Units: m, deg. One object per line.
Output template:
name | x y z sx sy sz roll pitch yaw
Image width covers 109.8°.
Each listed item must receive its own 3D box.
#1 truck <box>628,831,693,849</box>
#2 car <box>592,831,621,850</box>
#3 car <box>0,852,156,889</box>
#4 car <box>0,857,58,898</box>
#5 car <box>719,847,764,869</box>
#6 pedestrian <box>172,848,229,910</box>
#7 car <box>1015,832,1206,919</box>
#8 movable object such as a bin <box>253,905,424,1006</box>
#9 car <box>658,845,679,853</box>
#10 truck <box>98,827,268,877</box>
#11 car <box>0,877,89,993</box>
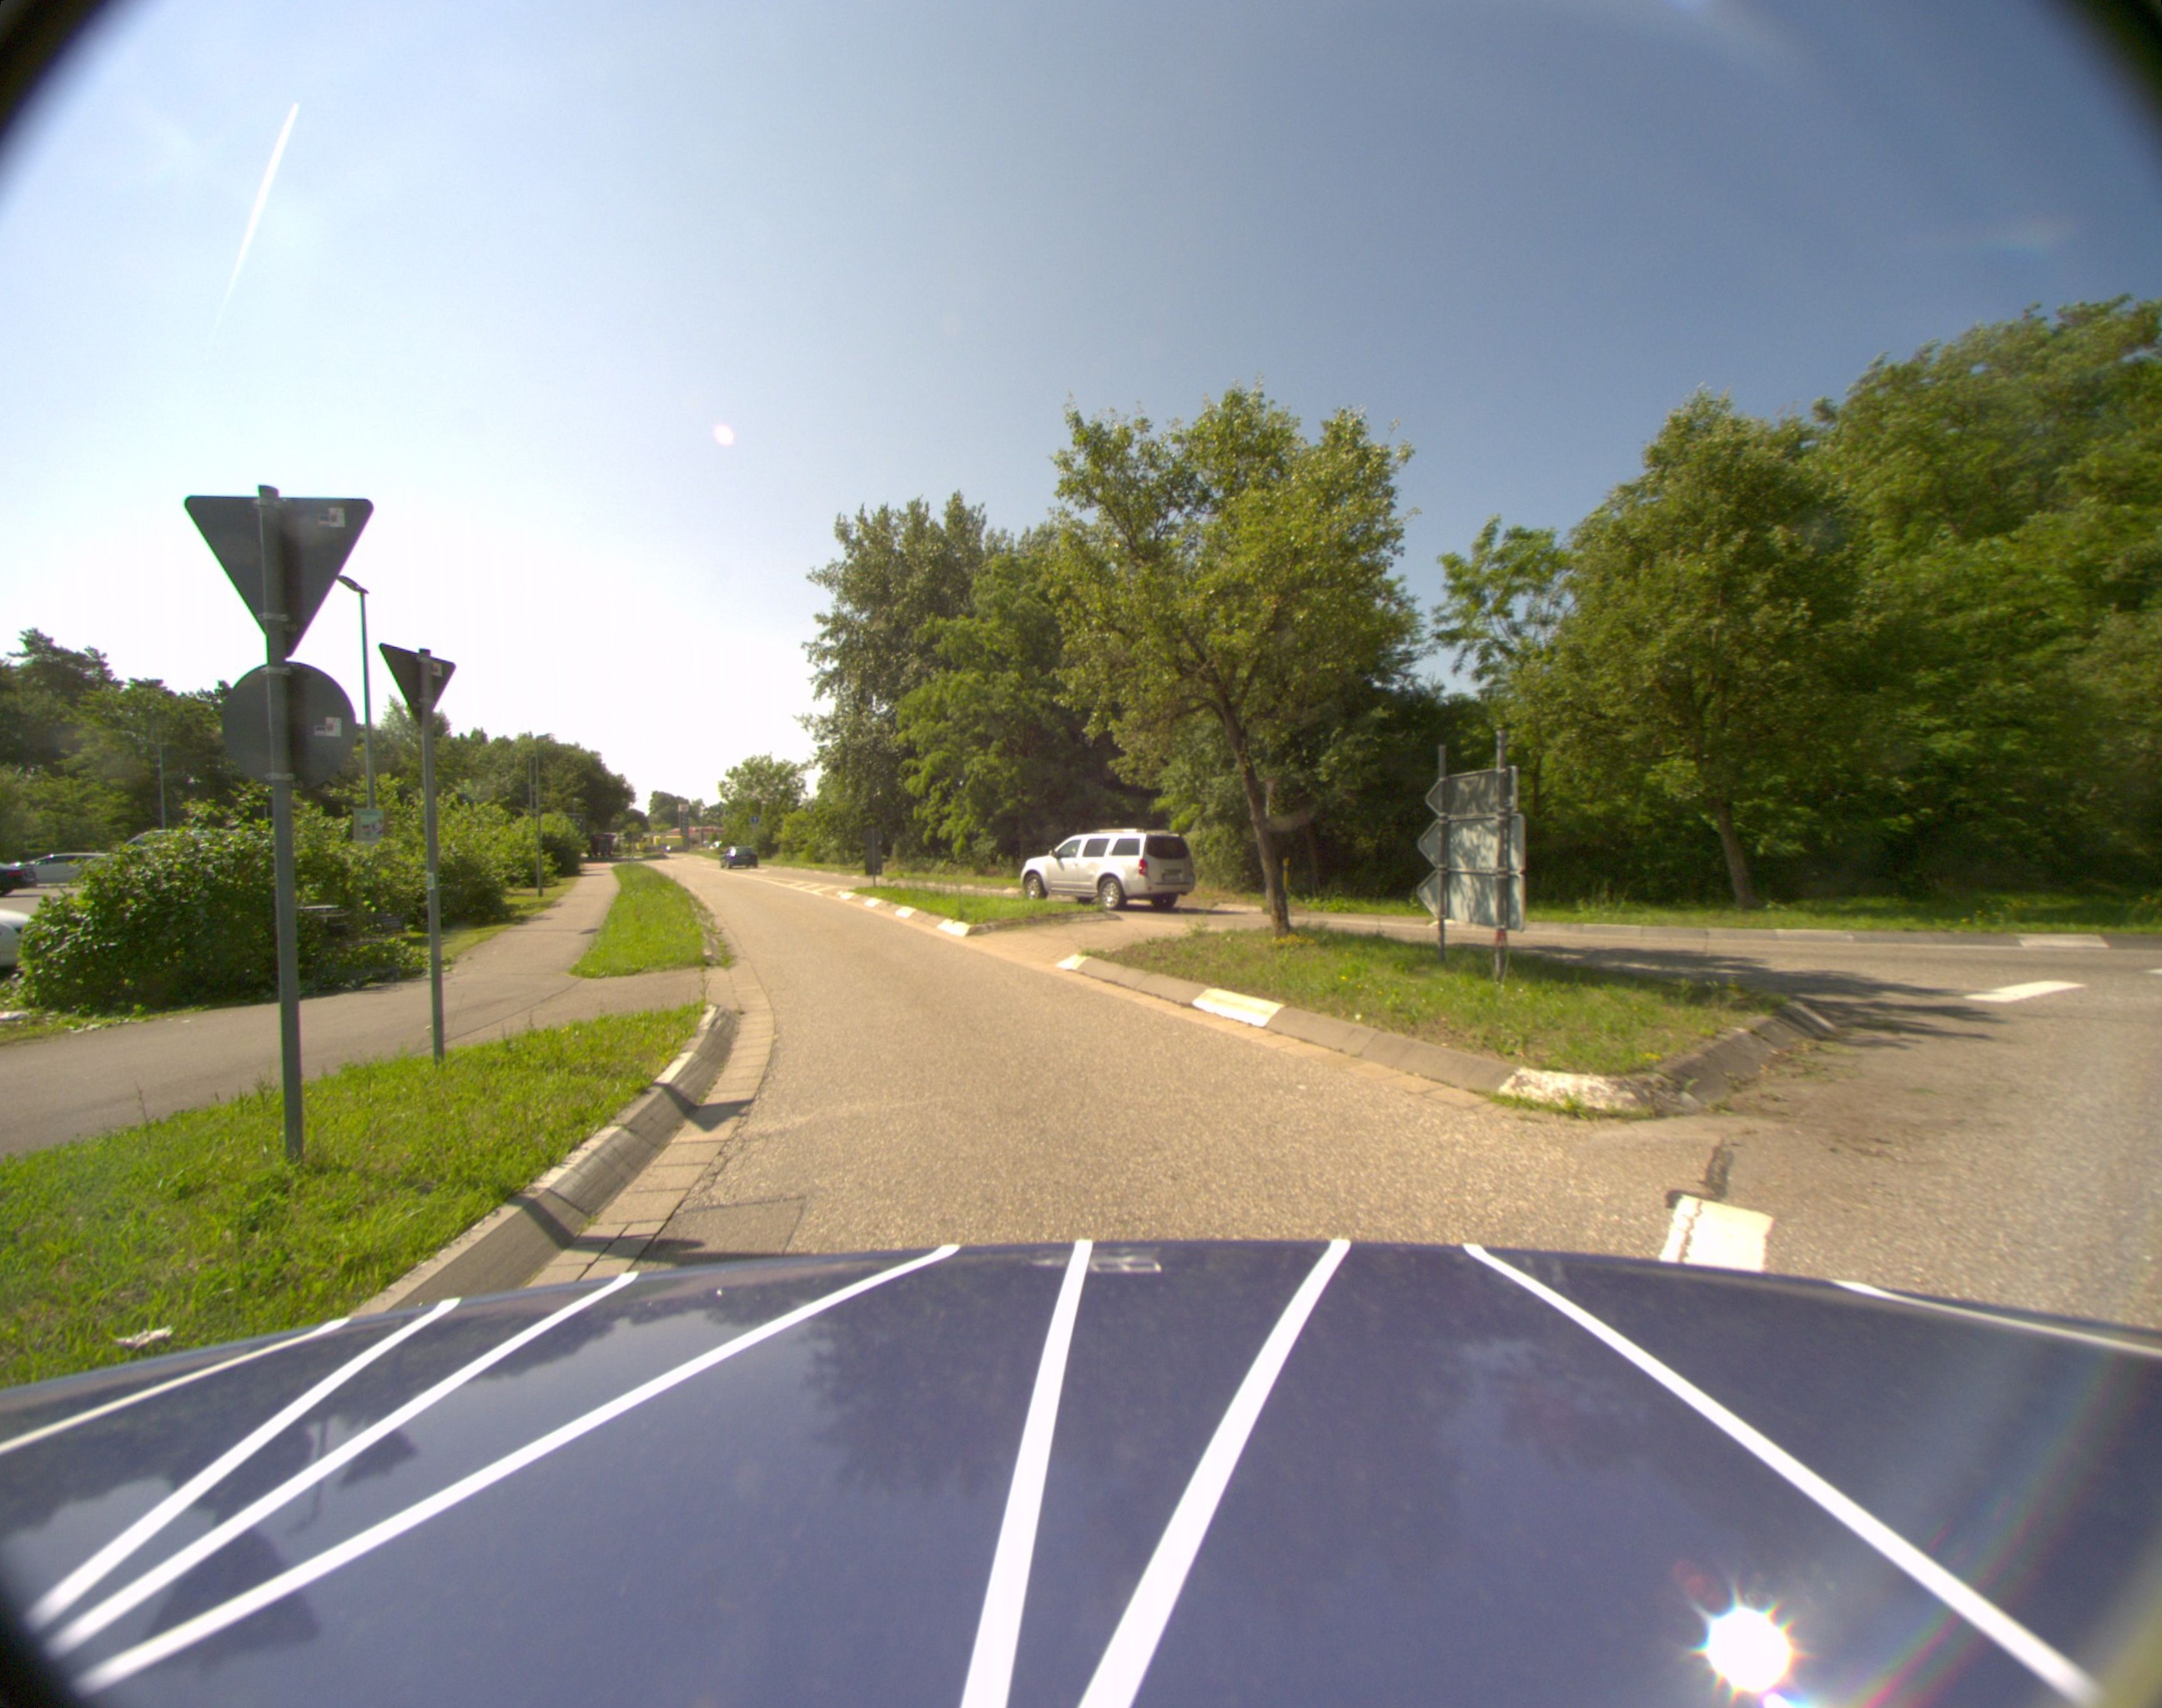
truck | -79.859 -2.705 144.324 10.358 3.375 3.874 -1 2 -34
car | -73.326 -2.022 117.368 5.136 2.796 2.682 0 2 45
car | -43.838 0.669 33.229 3.982 1.445 1.899 -2 2 -42
car | -39.284 0.858 26.467 4.007 1.419 1.744 -2 2 -39
car | -22.125 0.222 49.449 1.842 1.379 4.412 -1 1 -35
pedestrian | -26.453 0.724 22.850 0.822 1.787 0.864 -2 2 -30
car | 0.573 0.404 18.121 1.903 1.805 4.582 -2 2 -41
movable object such as a bin | -9.952 1.328 10.275 0.870 1.114 1.454 -2 2 -4
car | -69.954 -0.862 128.745 4.281 1.381 1.707 0 2 40
truck | -49.544 -0.159 42.176 5.626 2.590 2.197 -1 2 -33
car | -17.067 1.173 10.513 3.611 1.553 1.809 -1 1 -29
